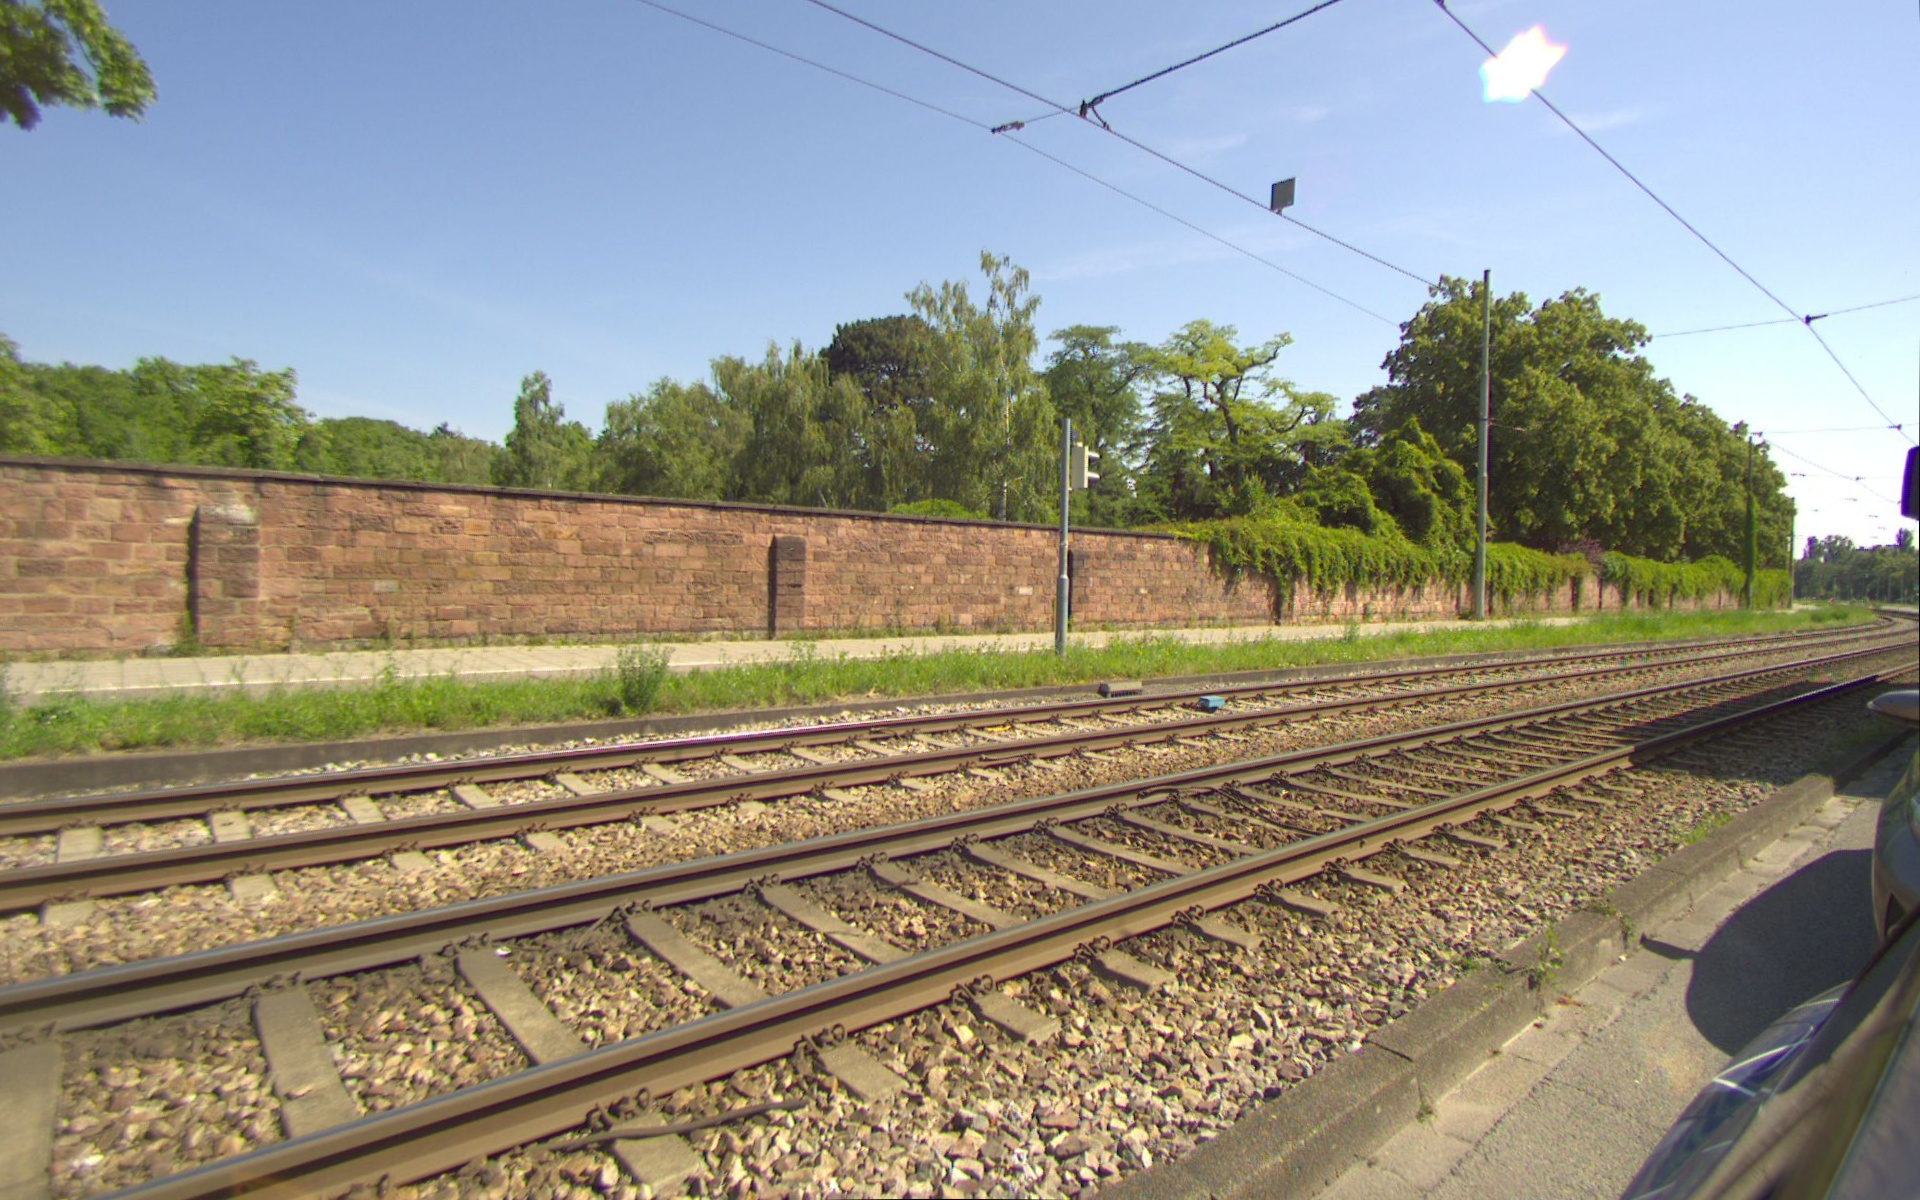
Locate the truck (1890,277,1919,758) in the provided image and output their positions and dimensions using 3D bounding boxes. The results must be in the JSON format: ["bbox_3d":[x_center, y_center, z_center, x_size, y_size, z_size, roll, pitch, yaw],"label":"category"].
[{"bbox_3d":[14.241,-0.629,12.045,14.652,3.927,2.934,0,2,-41],"label":"truck"}]

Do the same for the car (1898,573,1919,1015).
[{"bbox_3d":[5.123,0.666,4.033,3.930,1.448,1.573,0,2,-41],"label":"car"}]
